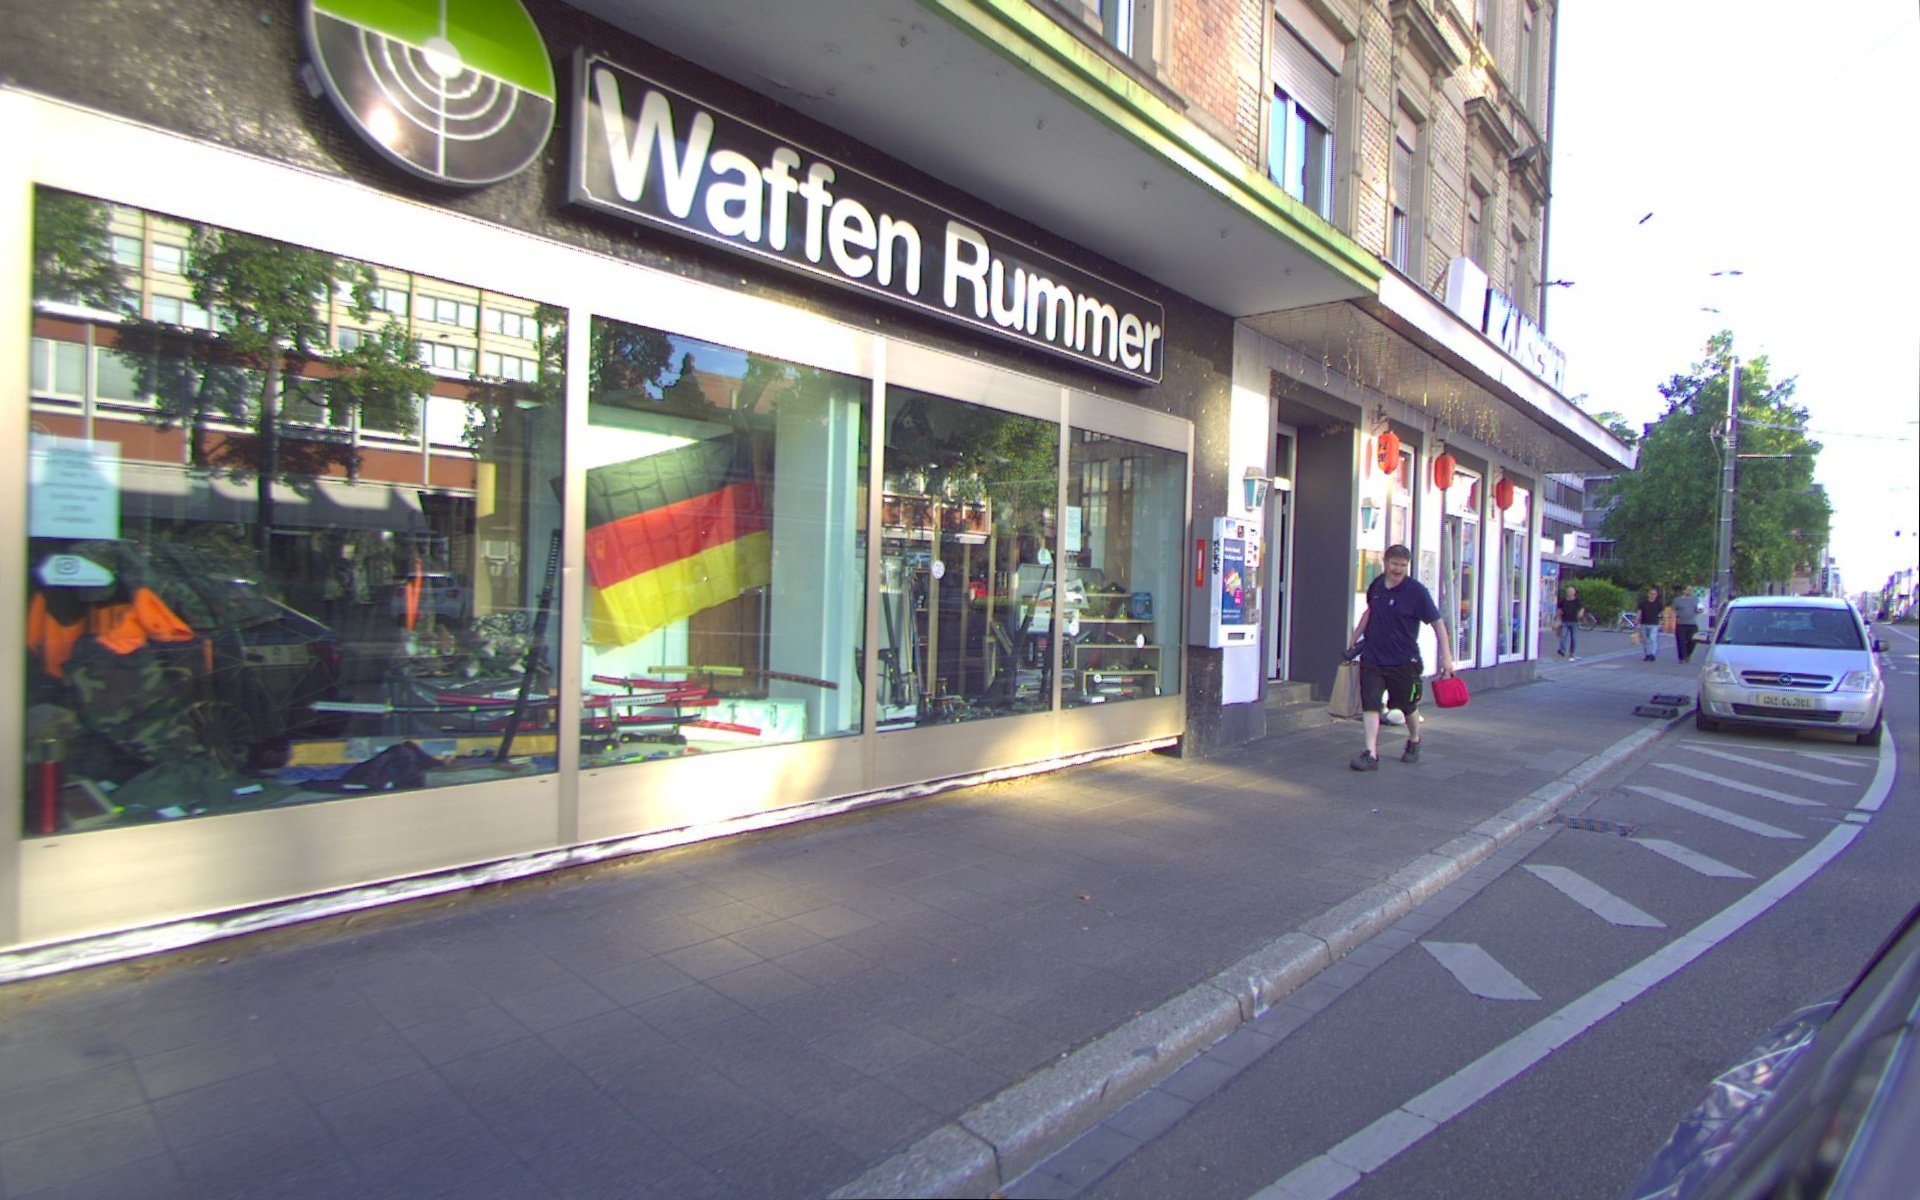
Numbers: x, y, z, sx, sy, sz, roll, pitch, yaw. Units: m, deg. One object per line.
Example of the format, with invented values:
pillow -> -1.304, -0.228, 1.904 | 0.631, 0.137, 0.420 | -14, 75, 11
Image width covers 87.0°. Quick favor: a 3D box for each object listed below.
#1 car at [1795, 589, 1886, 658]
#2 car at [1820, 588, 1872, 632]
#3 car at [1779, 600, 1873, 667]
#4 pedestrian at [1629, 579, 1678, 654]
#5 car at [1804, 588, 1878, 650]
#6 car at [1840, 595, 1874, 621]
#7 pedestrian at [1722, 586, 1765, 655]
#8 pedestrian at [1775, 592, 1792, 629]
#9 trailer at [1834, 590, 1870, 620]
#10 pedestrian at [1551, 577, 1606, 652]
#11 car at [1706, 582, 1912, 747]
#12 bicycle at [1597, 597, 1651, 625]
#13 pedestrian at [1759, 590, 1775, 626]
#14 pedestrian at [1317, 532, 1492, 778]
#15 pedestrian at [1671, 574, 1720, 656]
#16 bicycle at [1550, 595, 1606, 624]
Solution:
car -> 24.873, 0.594, 28.592 | 1.819, 1.779, 4.408 | 1, 1, 42
car -> 44.116, 0.461, 50.358 | 1.876, 2.047, 4.830 | 1, 0, 42
car -> 21.243, 0.758, 24.856 | 1.636, 1.511, 3.739 | -1, 0, 41
pedestrian -> 17.020, 0.385, 24.835 | 0.810, 1.778, 1.017 | 3, 2, 42
car -> 27.973, 0.563, 32.165 | 1.674, 1.831, 4.185 | 1, 0, 41
car -> 63.906, 0.546, 72.148 | 1.778, 1.767, 4.408 | 1, 0, 41
pedestrian -> 20.455, 0.521, 26.403 | 0.787, 1.759, 0.931 | 2, 1, 42
pedestrian -> 39.754, 0.485, 48.849 | 0.493, 1.734, 0.430 | 5, 3, 42
trailer -> 66.911, 0.338, 75.884 | 1.780, 2.176, 5.230 | 1, 0, 44
pedestrian -> 15.258, 0.344, 24.967 | 0.900, 1.734, 1.017 | 5, 3, 42
car -> 10.141, 0.635, 12.132 | 1.636, 1.635, 3.887 | 1, 1, 41
bicycle -> 28.516, 0.460, 43.461 | 1.880, 1.109, 0.462 | 3, 2, 41
pedestrian -> 39.308, 0.382, 49.304 | 0.493, 1.734, 0.430 | 5, 3, 42
pedestrian -> 3.597, 0.388, 8.176 | 0.946, 1.814, 1.039 | 4, 2, 42
pedestrian -> 17.805, 0.349, 24.497 | 0.793, 1.922, 1.017 | 3, 2, 42
bicycle -> 26.760, 0.390, 43.849 | 2.009, 1.109, 0.629 | 4, 2, 36
